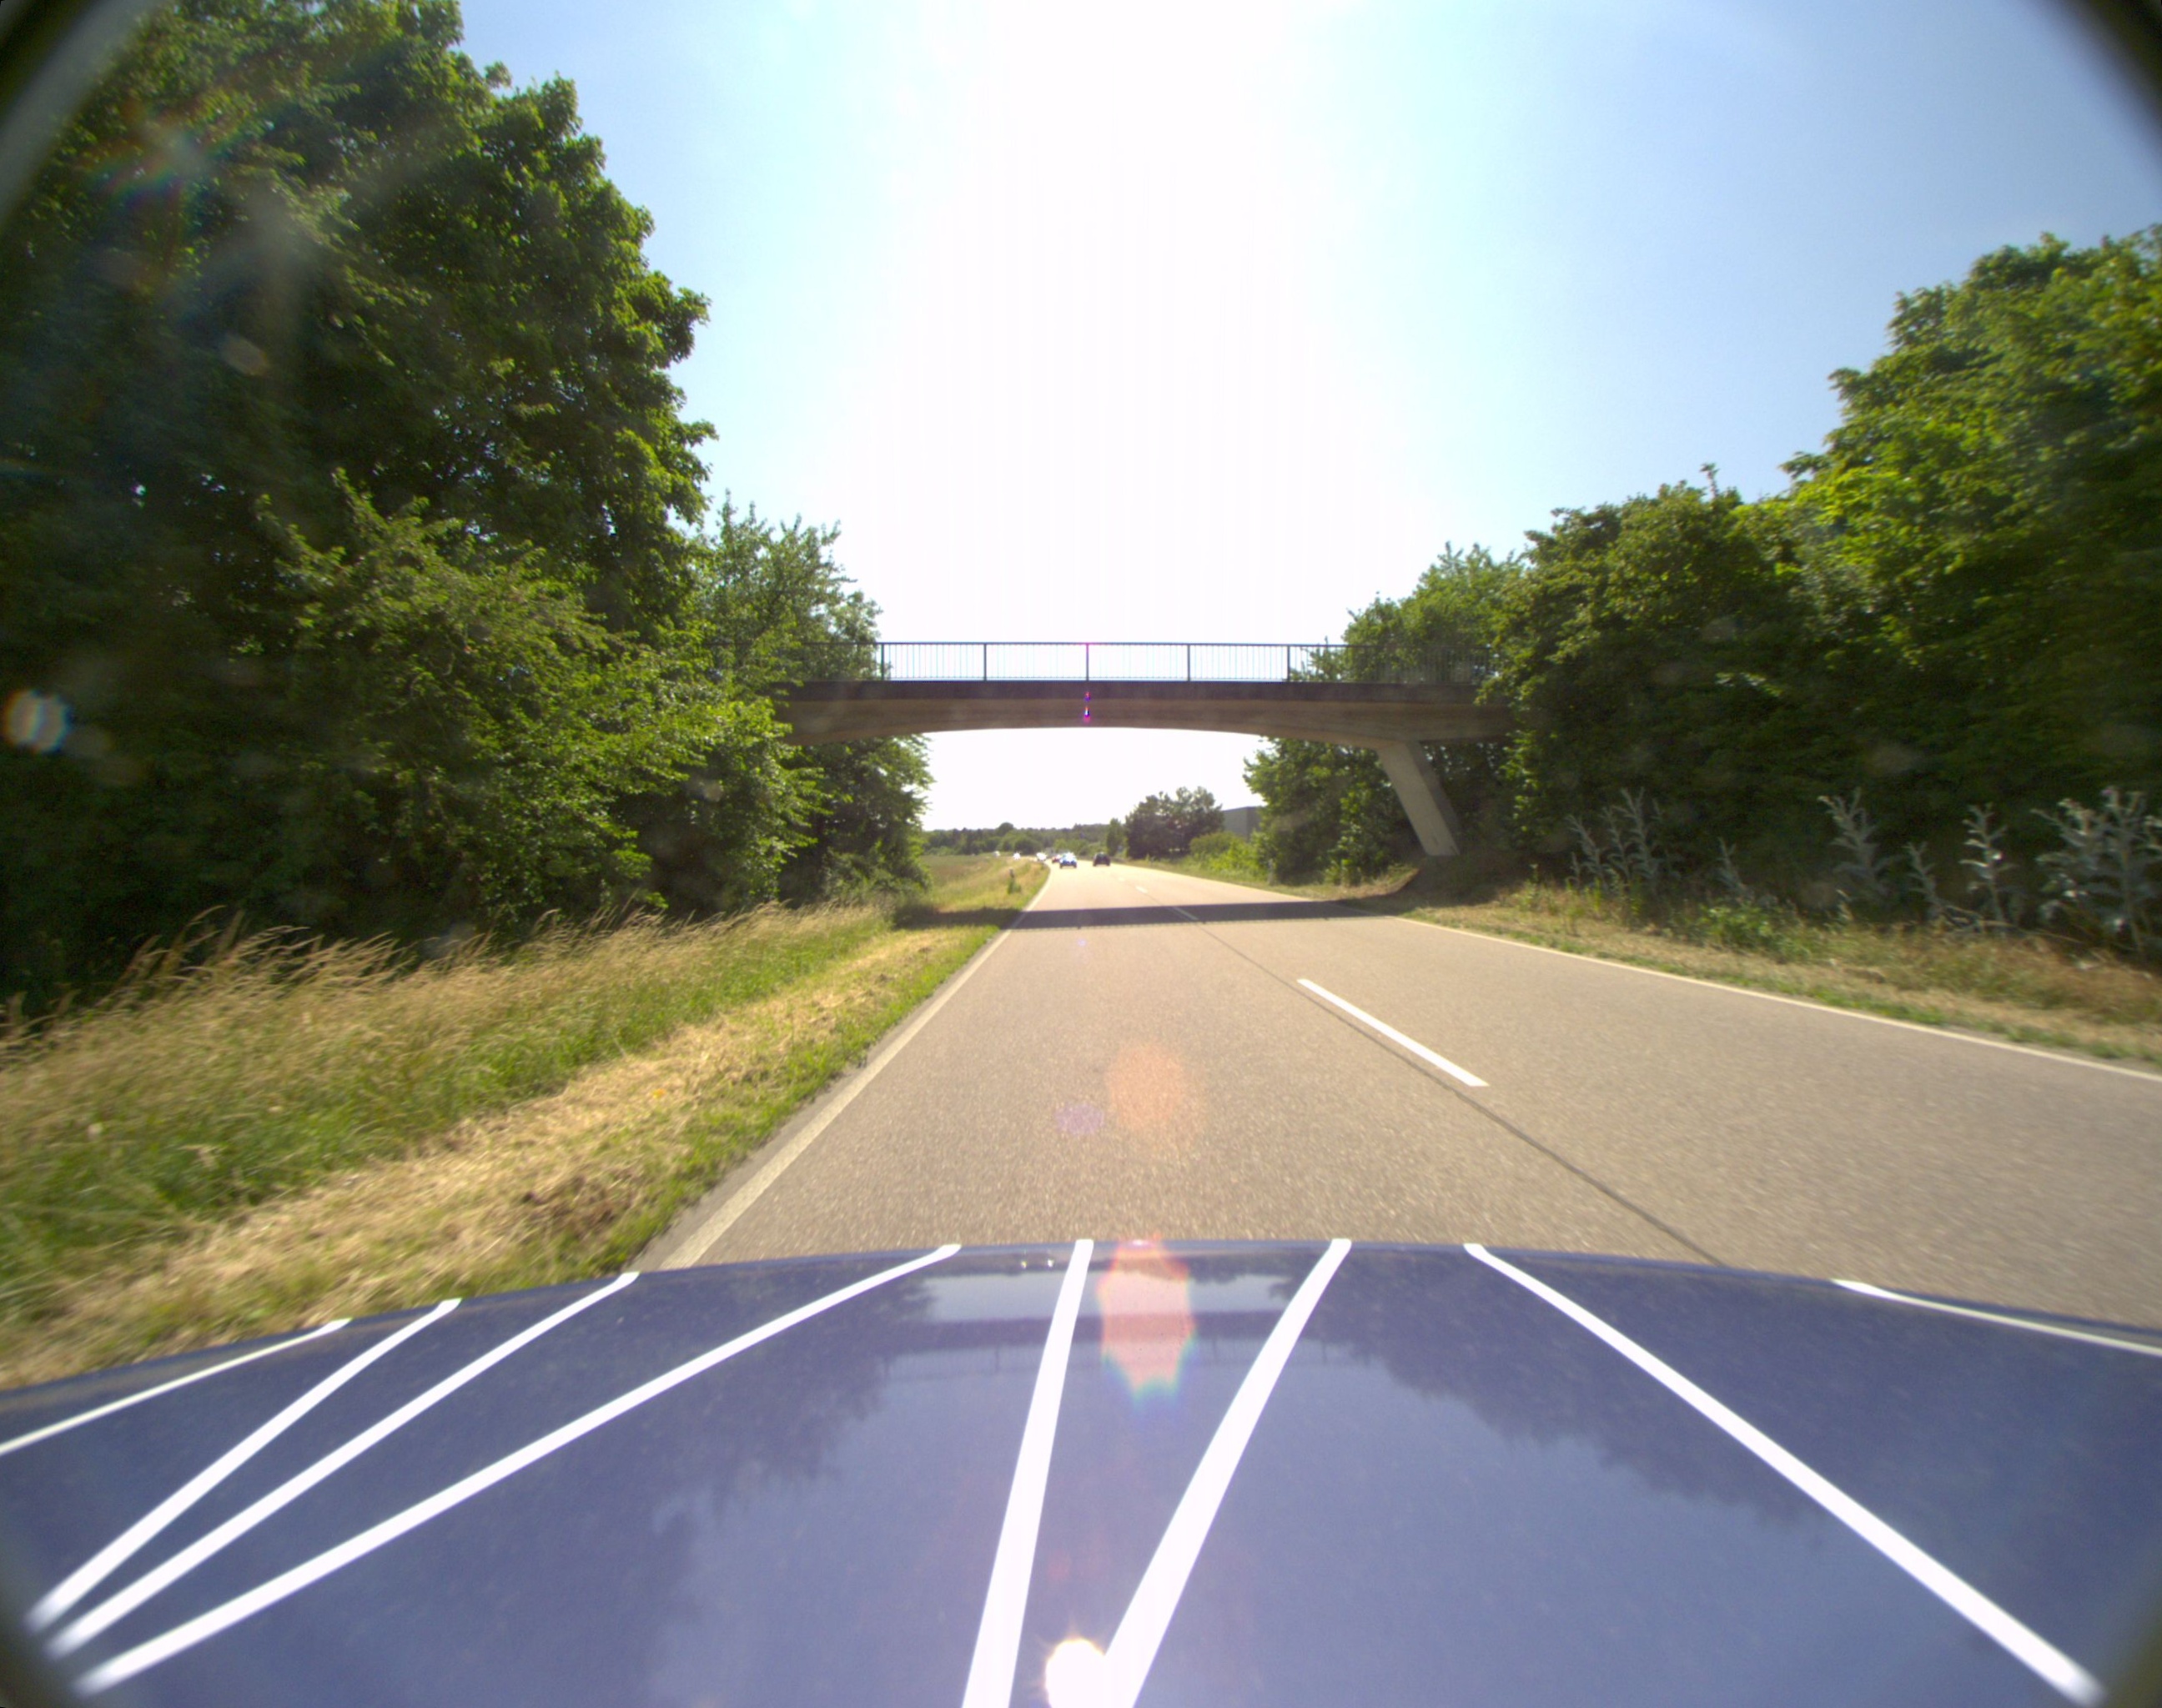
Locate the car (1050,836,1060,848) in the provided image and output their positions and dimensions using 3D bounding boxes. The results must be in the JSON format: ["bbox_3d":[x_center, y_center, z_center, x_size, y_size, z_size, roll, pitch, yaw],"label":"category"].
[{"bbox_3d":[-6.681,-3.156,196.994,2.296,2.613,4.970,1,7,-4],"label":"car"}]

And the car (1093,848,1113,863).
[{"bbox_3d":[2.405,0.144,84.291,1.999,1.521,5.506,-1,1,-1],"label":"car"}]

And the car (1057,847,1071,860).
[{"bbox_3d":[-2.665,-0.079,119.161,1.998,2.002,3.999,-2,1,0],"label":"car"}]

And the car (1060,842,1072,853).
[{"bbox_3d":[-3.983,-1.661,207.796,3.034,2.987,7.842,0,0,0],"label":"car"}]

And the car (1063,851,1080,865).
[{"bbox_3d":[-0.959,0.414,79.690,1.693,1.431,3.710,-2,1,0],"label":"car"}]
